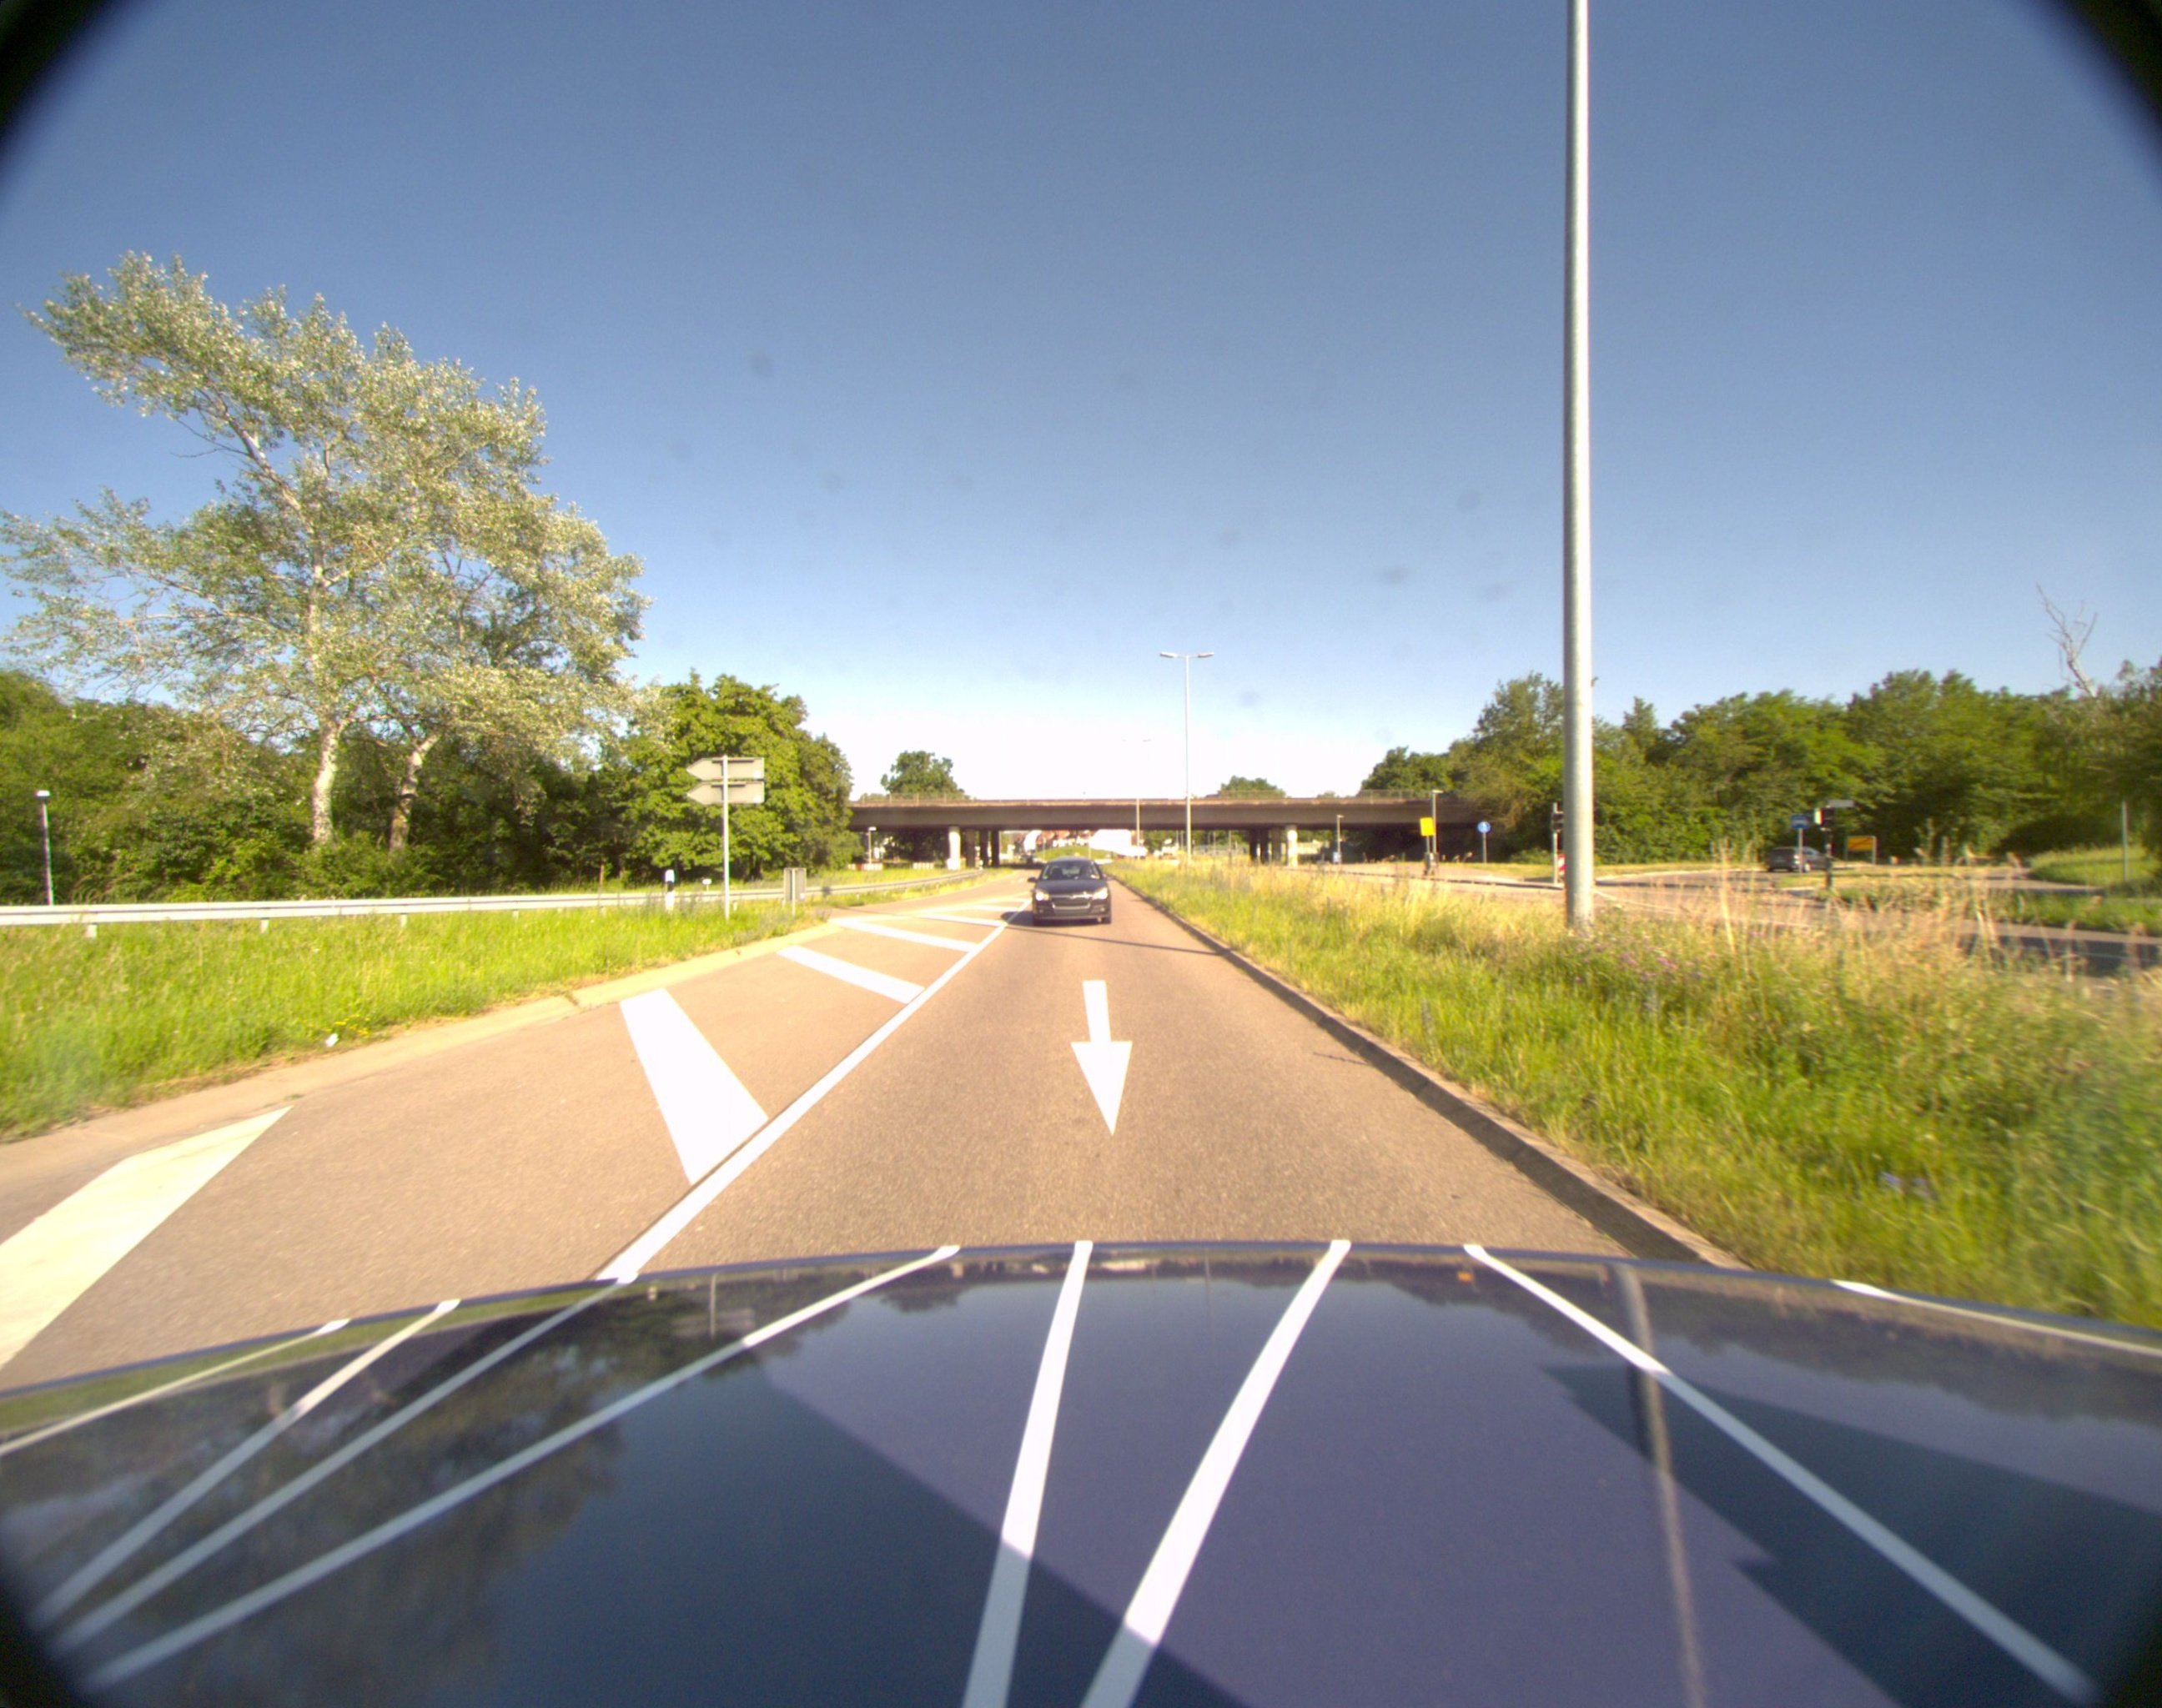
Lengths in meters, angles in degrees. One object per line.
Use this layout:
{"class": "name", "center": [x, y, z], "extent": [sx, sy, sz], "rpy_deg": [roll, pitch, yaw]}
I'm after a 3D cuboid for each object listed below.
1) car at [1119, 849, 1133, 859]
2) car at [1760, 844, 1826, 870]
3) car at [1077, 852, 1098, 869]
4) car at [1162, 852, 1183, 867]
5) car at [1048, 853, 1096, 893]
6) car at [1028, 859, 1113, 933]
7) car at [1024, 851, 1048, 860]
{"class": "car", "center": [6.716, 0.022, 113.429], "extent": [1.637, 1.521, 3.591], "rpy_deg": [-1, 0, -3]}
{"class": "car", "center": [41.112, 0.143, 43.848], "extent": [4.389, 1.417, 1.781], "rpy_deg": [-1, 2, -33]}
{"class": "car", "center": [0.558, 0.560, 69.577], "extent": [1.827, 1.528, 4.042], "rpy_deg": [-1, 0, 0]}
{"class": "car", "center": [9.234, 0.500, 76.805], "extent": [1.637, 1.436, 4.103], "rpy_deg": [-1, 0, 0]}
{"class": "car", "center": [-0.340, 0.742, 32.028], "extent": [1.827, 1.528, 4.041], "rpy_deg": [-1, 1, 0]}
{"class": "car", "center": [-0.182, 0.874, 17.621], "extent": [1.707, 1.446, 3.959], "rpy_deg": [-1, 0, 1]}
{"class": "car", "center": [-7.432, 0.279, 125.531], "extent": [1.832, 1.528, 4.030], "rpy_deg": [-1, 1, -44]}
